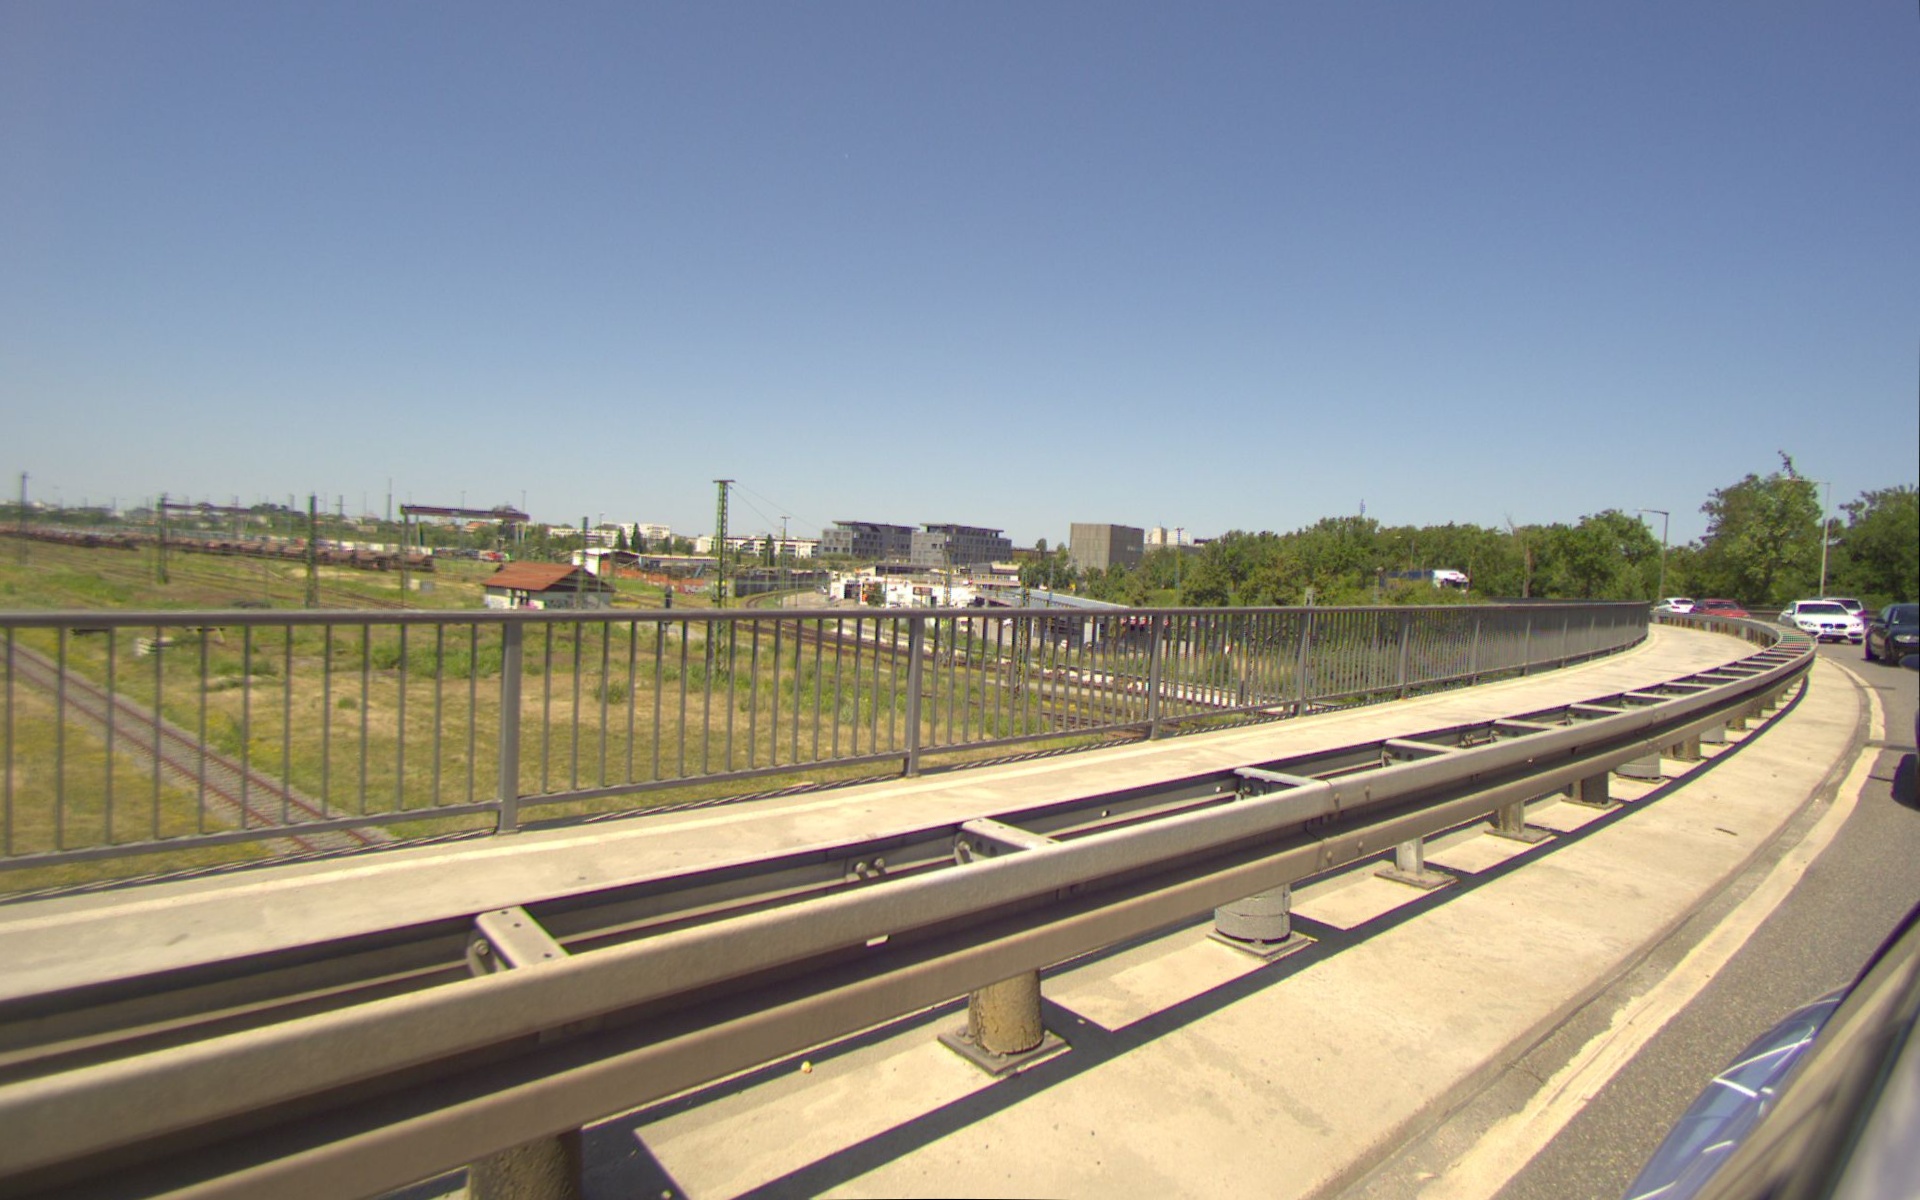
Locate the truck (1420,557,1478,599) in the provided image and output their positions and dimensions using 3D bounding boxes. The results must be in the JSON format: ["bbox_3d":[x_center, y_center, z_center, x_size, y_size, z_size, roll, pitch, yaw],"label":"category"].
[{"bbox_3d":[50.841,-2.266,105.488,2.645,4.281,6.841,0,1,-1],"label":"truck"}]

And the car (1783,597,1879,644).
[{"bbox_3d":[29.846,0.656,34.806,1.782,1.473,4.472,1,1,32],"label":"car"}]

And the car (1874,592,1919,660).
[{"bbox_3d":[22.461,0.562,23.153,1.785,1.473,4.465,1,1,36],"label":"car"}]

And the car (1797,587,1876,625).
[{"bbox_3d":[40.266,0.258,46.594,1.682,1.627,3.965,2,1,25],"label":"car"}]

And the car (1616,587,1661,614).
[{"bbox_3d":[52.937,0.036,79.019,1.974,2.039,3.975,1,1,19],"label":"car"}]

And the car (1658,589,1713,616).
[{"bbox_3d":[46.974,0.112,65.628,1.677,1.627,3.977,2,1,18],"label":"car"}]

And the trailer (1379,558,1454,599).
[{"bbox_3d":[50.803,-2.381,113.167,2.651,4.287,12.714,0,1,0],"label":"trailer"}]

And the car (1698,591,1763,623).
[{"bbox_3d":[37.672,0.301,49.595,1.779,1.473,4.480,1,1,28],"label":"car"}]
